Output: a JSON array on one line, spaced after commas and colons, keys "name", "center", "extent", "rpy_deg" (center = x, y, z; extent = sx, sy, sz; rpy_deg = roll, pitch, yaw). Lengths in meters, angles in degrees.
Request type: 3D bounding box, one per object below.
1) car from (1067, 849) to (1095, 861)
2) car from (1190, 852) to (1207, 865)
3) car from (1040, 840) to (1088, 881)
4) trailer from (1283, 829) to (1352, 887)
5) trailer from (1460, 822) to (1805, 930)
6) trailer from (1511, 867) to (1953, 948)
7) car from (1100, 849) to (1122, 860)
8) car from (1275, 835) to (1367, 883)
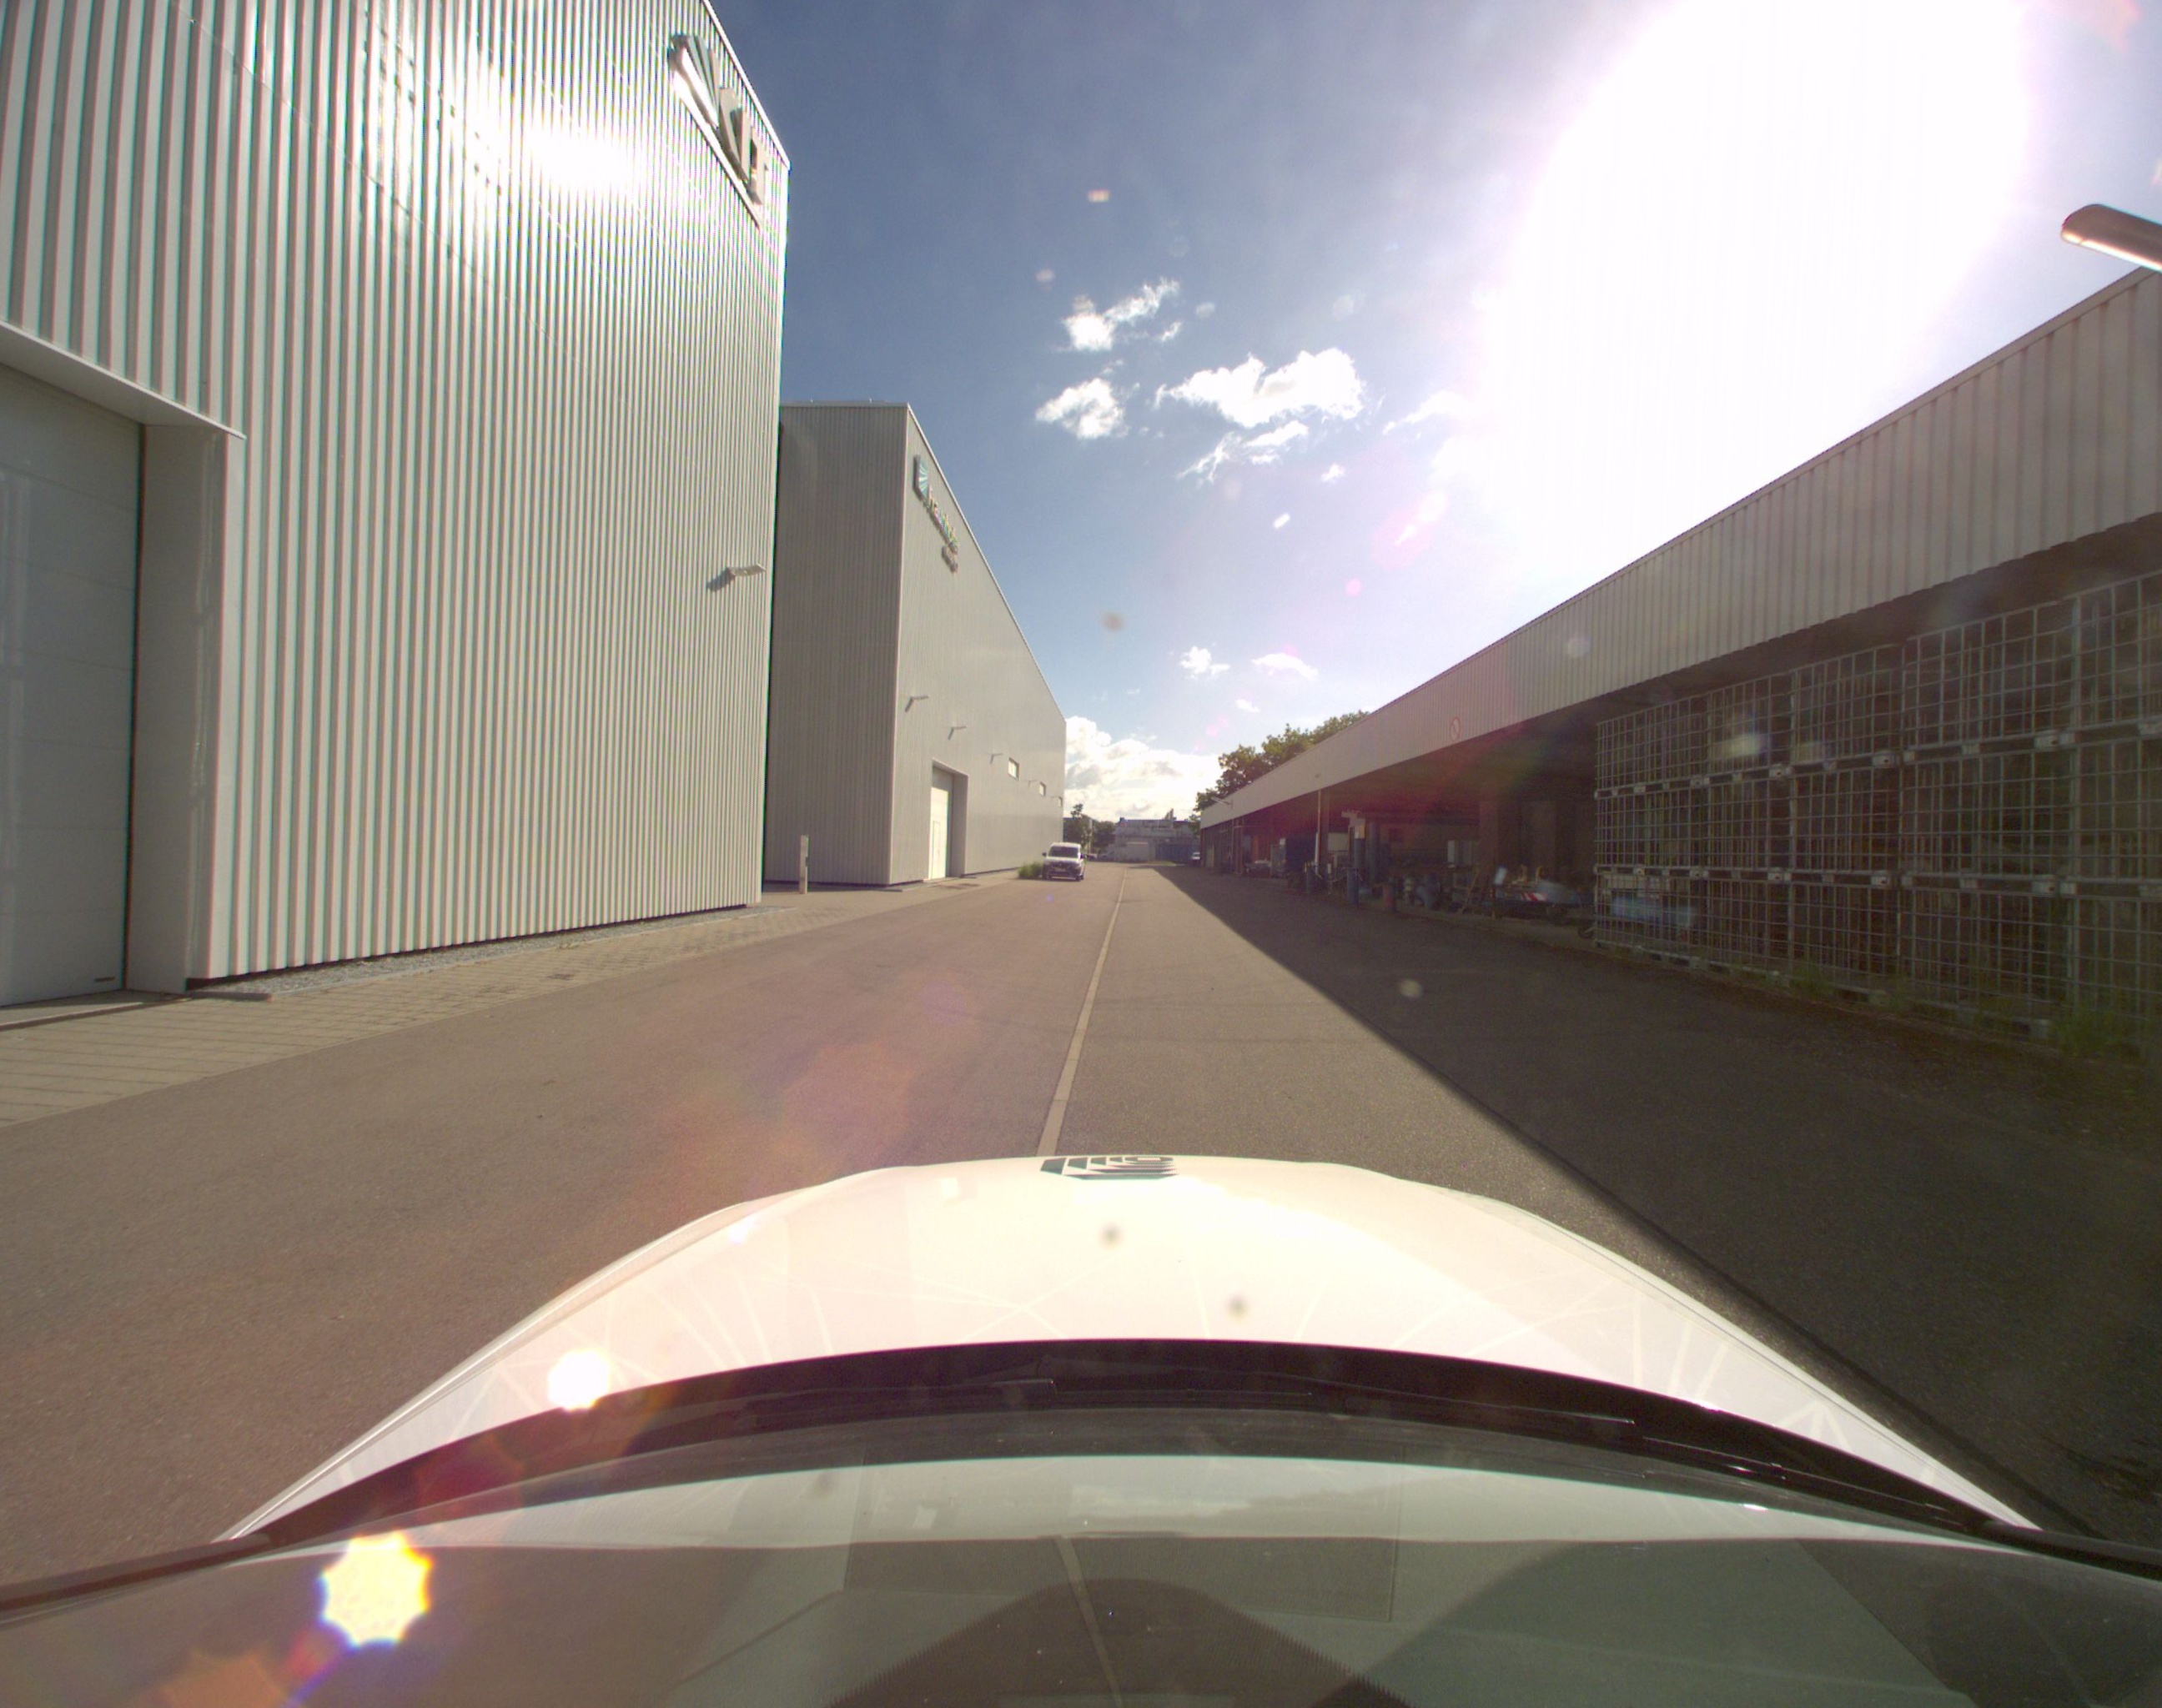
[{"name": "car", "center": [-0.024, 0.148, 121.836], "extent": [3.972, 1.598, 1.742], "rpy_deg": [3, -2, 2]}, {"name": "car", "center": [15.626, 0.567, 108.607], "extent": [1.953, 1.564, 4.065], "rpy_deg": [3, 1, 5]}, {"name": "car", "center": [-0.755, 0.284, 39.478], "extent": [1.811, 1.787, 4.410], "rpy_deg": [3, 1, 4]}, {"name": "trailer", "center": [10.260, 0.170, 35.459], "extent": [2.512, 2.399, 1.729], "rpy_deg": [2, -1, 4]}, {"name": "trailer", "center": [11.326, 0.412, 17.107], "extent": [5.740, 2.032, 2.080], "rpy_deg": [1, 0, 4]}, {"name": "trailer", "center": [10.817, 0.860, 13.916], "extent": [5.826, 1.133, 2.142], "rpy_deg": [1, 0, 1]}, {"name": "car", "center": [5.485, 0.107, 149.501], "extent": [3.972, 1.598, 1.849], "rpy_deg": [3, -2, 2]}, {"name": "car", "center": [12.958, 0.309, 44.128], "extent": [4.413, 2.310, 1.917], "rpy_deg": [3, -2, 4]}]
